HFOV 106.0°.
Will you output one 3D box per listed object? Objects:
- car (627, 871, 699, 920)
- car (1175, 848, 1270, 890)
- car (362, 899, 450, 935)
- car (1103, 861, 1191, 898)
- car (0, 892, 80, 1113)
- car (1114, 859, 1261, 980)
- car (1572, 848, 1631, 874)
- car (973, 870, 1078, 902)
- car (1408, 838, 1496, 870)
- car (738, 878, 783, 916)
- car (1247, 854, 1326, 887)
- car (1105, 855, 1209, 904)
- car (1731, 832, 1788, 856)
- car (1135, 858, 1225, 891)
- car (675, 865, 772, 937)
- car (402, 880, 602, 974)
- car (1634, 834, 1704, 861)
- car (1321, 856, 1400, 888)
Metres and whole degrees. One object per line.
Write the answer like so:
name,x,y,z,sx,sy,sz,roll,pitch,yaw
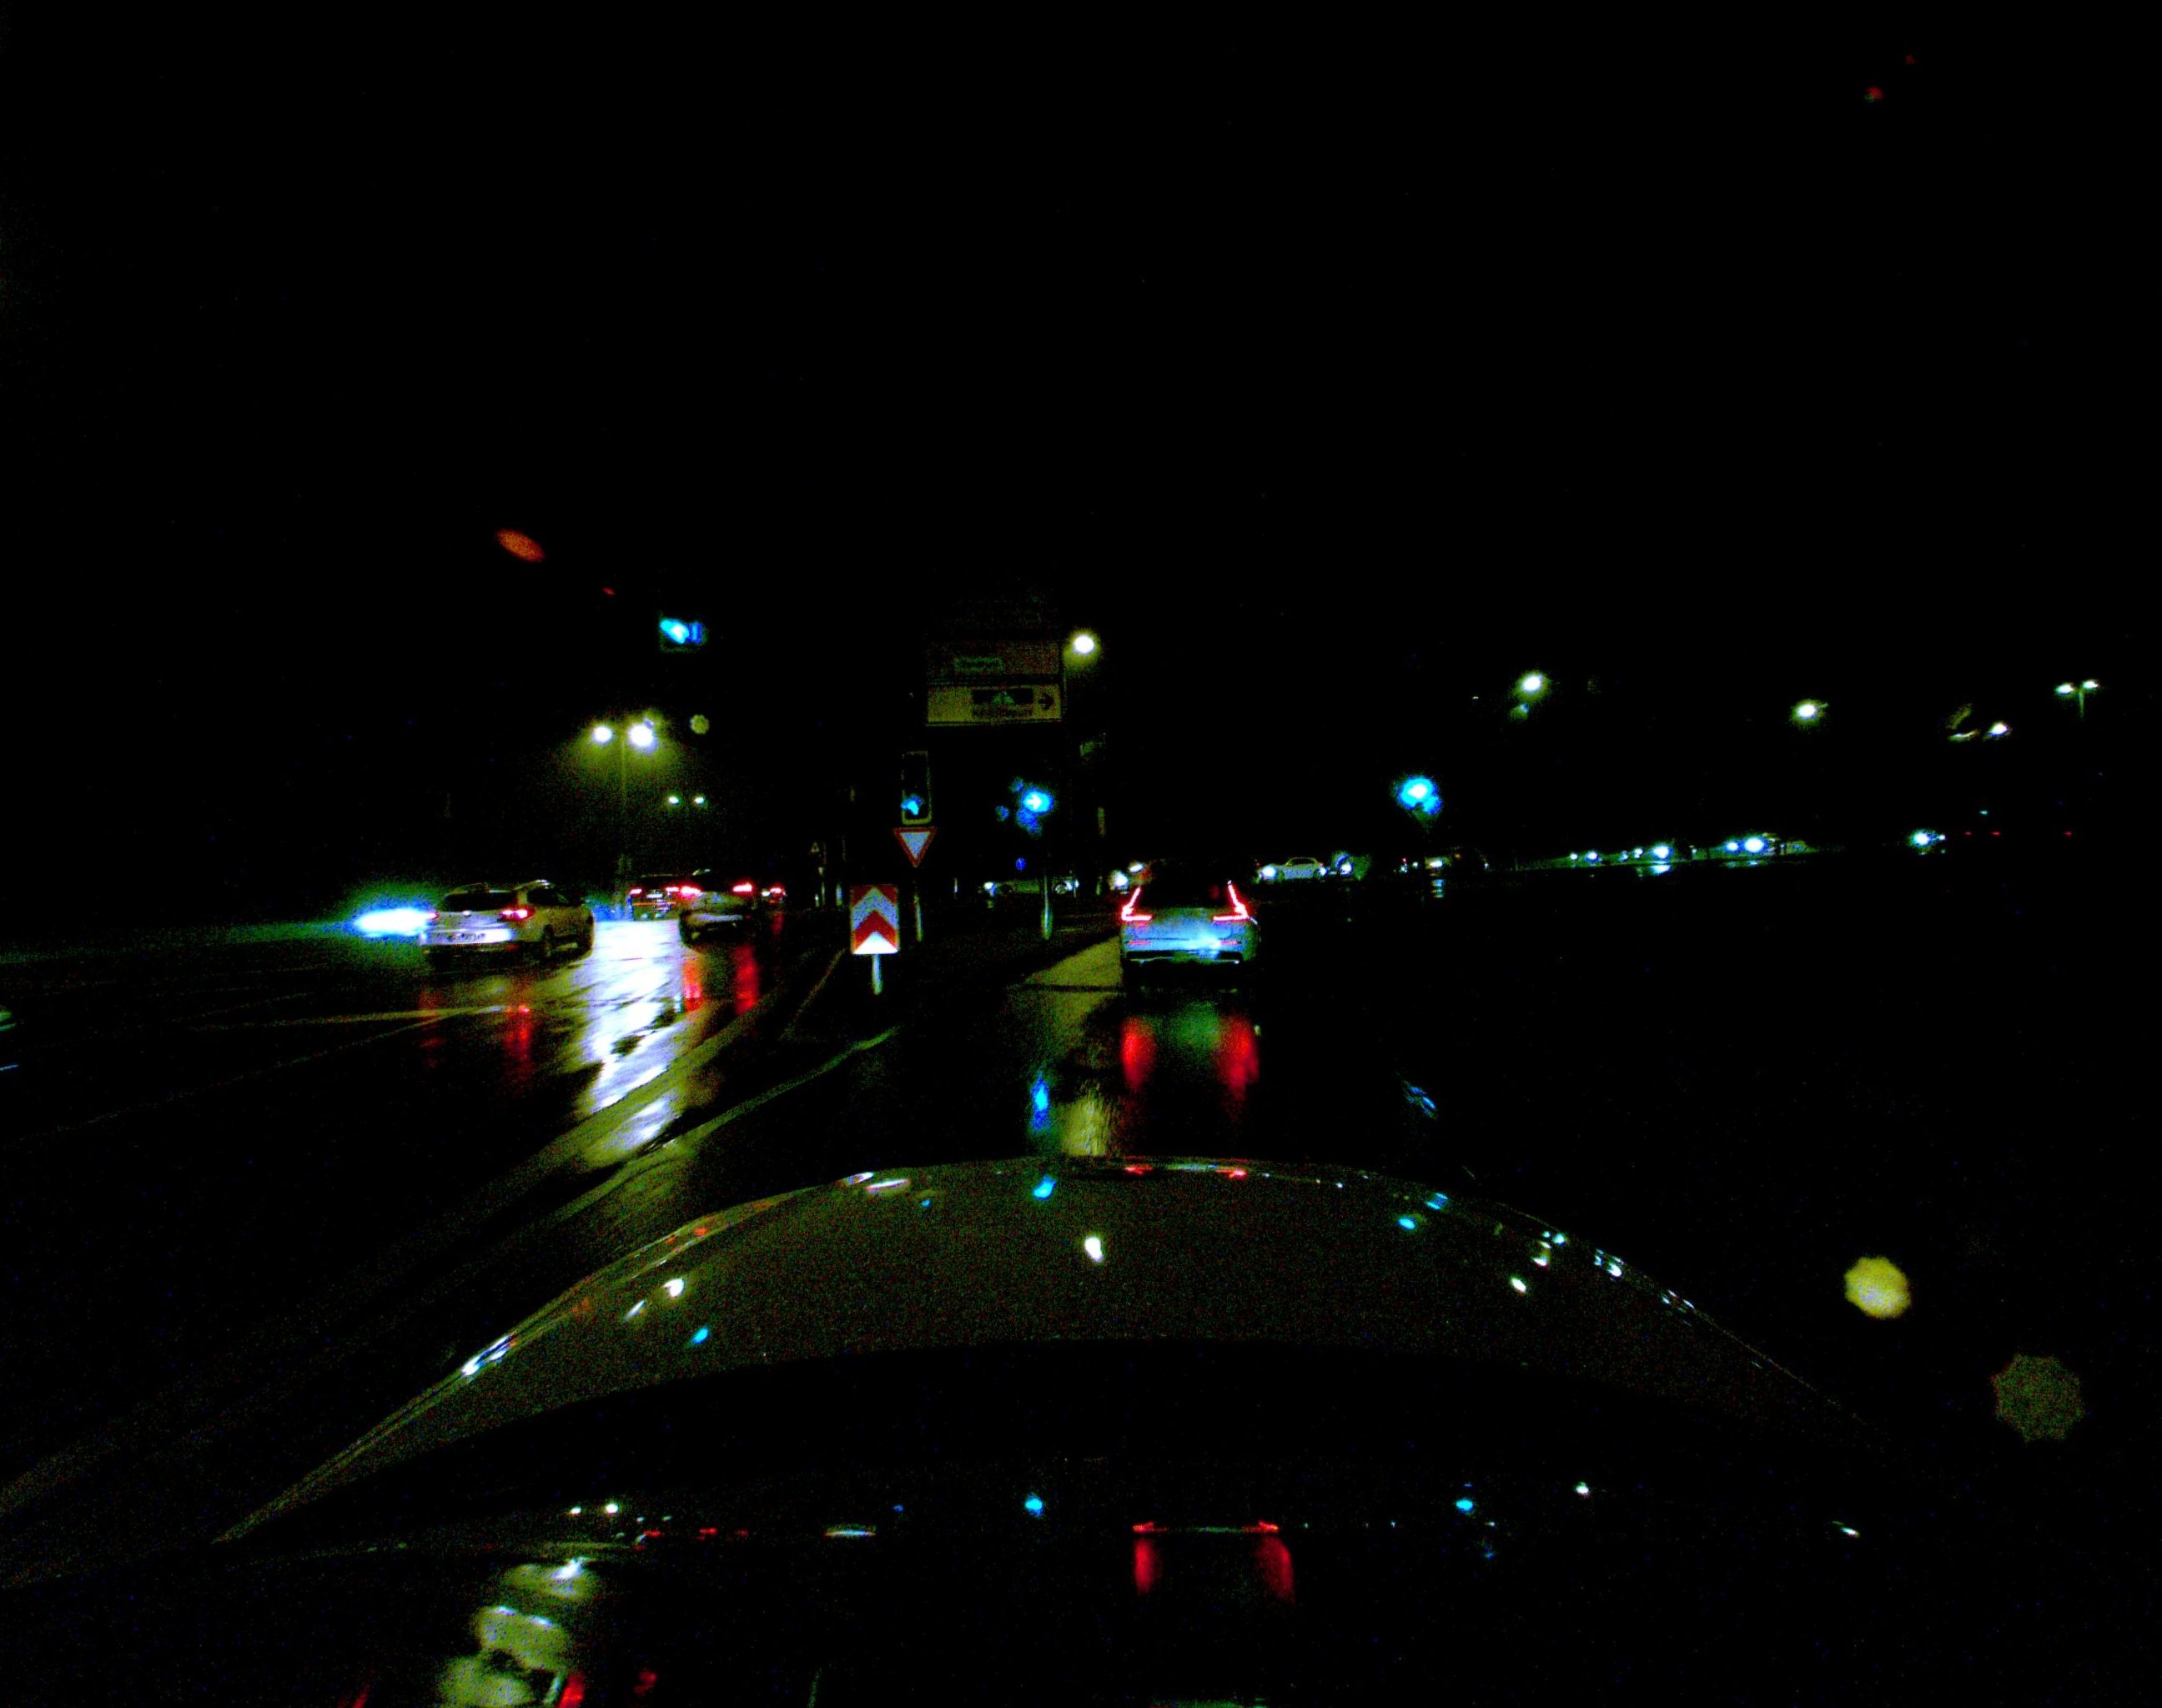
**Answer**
car,-15.739,1.540,30.854,1.916,1.658,3.958,-1,-2,-20
car,6.437,0.674,36.953,3.906,1.725,1.751,-2,-1,-24
car,-32.253,2.976,39.072,1.835,1.474,4.012,0,-1,-18
car,3.486,1.309,42.743,4.292,1.848,1.750,0,-2,-26
car,-7.609,0.973,3.538,1.830,1.408,4.107,-1,0,-10
car,1.748,0.826,12.160,1.784,1.452,4.283,-1,0,12
car,38.153,0.500,59.681,4.007,1.849,1.814,0,-2,-26
car,-2.706,1.553,39.759,4.810,1.427,1.751,0,-2,-25
car,19.488,-0.005,42.765,4.419,1.484,1.768,-2,0,-25
car,-15.656,2.041,39.683,1.836,1.653,4.443,1,-1,-24
car,11.825,0.945,46.875,4.258,1.799,1.789,0,-2,-26
car,4.401,1.431,47.285,5.617,2.710,2.238,0,-2,-25
car,52.453,-0.733,62.925,4.498,1.666,1.788,1,-2,-28
car,4.835,0.998,39.749,4.060,1.487,1.705,0,-2,-22
car,-8.840,1.128,20.433,1.855,1.592,3.997,0,-2,-18
car,-10.904,1.278,15.737,1.740,1.436,4.267,-3,-1,-16
car,37.947,-0.418,52.525,4.315,1.578,1.802,-2,-2,-27
car,15.336,0.981,44.738,3.984,1.666,1.789,0,-2,-26
